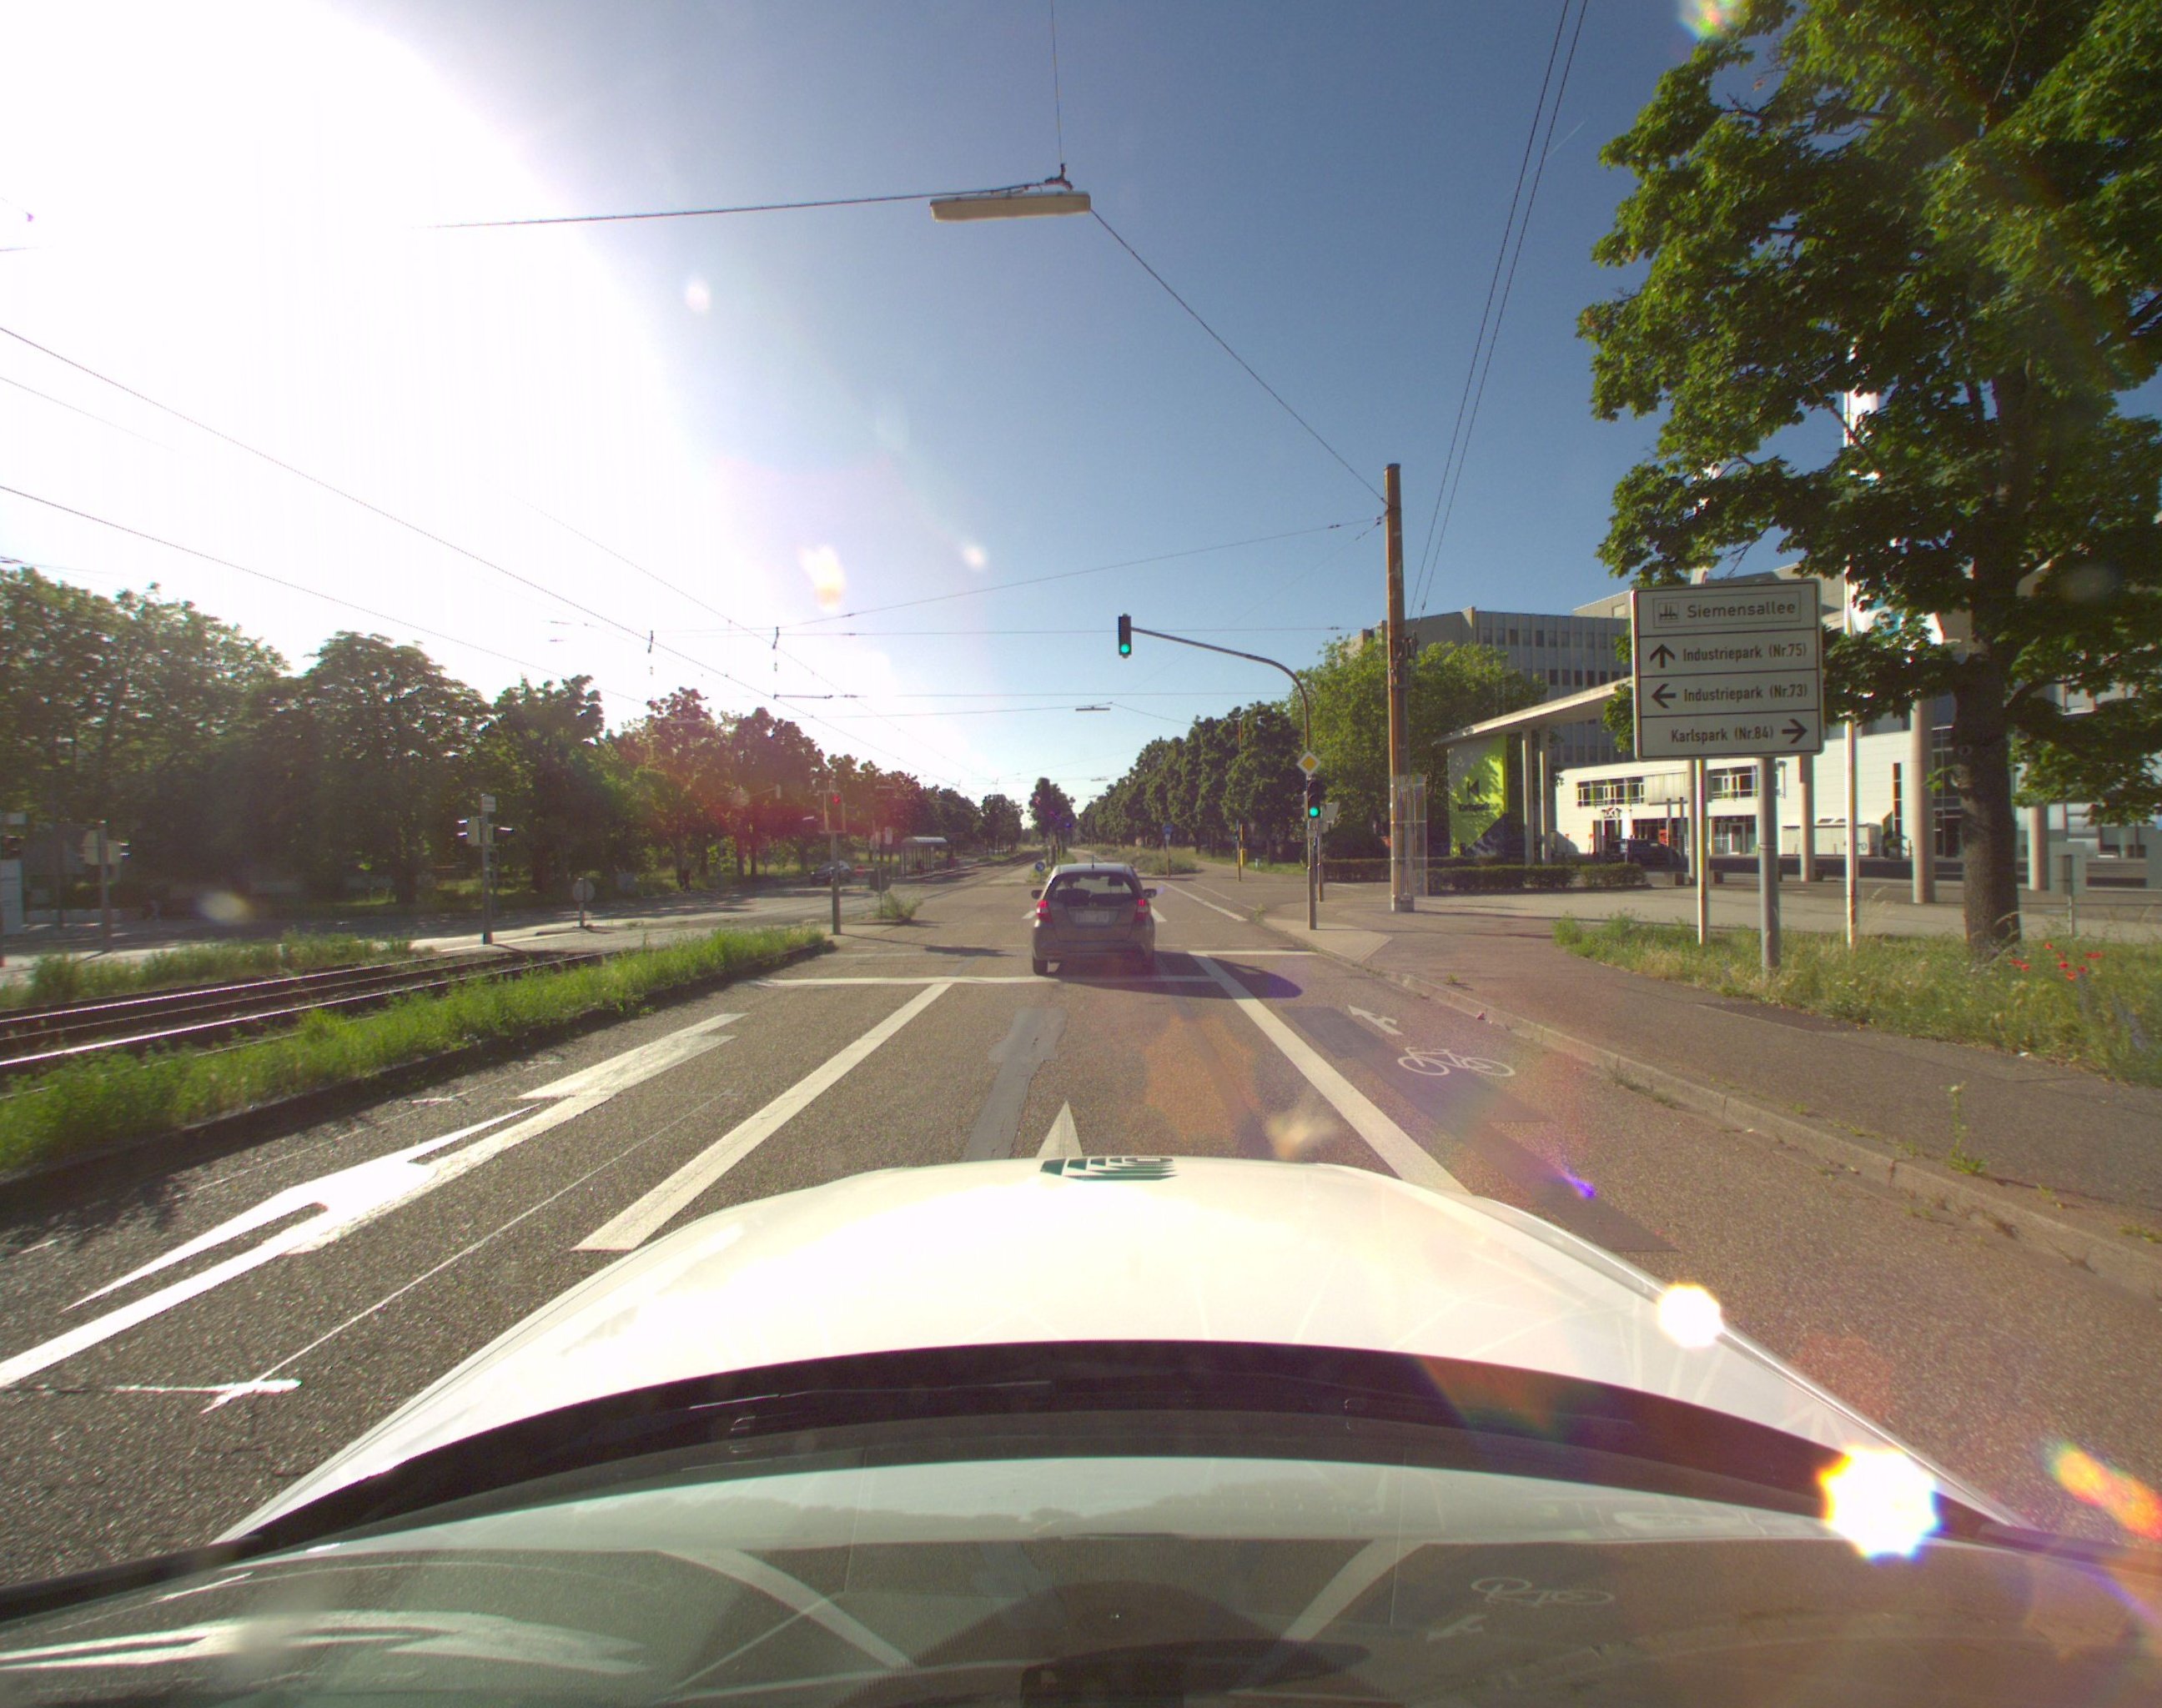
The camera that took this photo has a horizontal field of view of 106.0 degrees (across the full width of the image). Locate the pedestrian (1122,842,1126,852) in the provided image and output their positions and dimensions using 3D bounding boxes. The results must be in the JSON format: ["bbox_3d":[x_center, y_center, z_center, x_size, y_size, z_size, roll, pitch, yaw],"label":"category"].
[{"bbox_3d":[7.706,-1.242,145.416,0.723,1.690,0.821,-1,-1,-1],"label":"pedestrian"}]

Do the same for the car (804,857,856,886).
[{"bbox_3d":[-17.916,1.223,58.394,2.087,1.810,4.792,-4,1,0],"label":"car"}]

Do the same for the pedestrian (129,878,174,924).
[{"bbox_3d":[-37.899,1.920,33.199,0.943,1.787,0.824,-2,0,15],"label":"pedestrian"}]

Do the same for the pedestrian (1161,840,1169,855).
[{"bbox_3d":[10.762,-0.779,104.609,0.880,1.884,0.875,-2,0,-2],"label":"pedestrian"}]

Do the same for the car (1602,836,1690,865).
[{"bbox_3d":[33.271,-0.227,47.993,3.984,1.578,1.949,-1,0,-8],"label":"car"}]

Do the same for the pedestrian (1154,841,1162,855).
[{"bbox_3d":[9.834,-0.770,104.615,0.880,1.884,0.875,-2,0,-2],"label":"pedestrian"}]

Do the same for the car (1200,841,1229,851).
[{"bbox_3d":[23.299,-1.445,142.603,4.623,1.555,1.997,-2,0,-5],"label":"car"}]

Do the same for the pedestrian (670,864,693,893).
[{"bbox_3d":[-25.029,1.547,51.034,0.751,1.734,0.943,-2,0,30],"label":"pedestrian"}]

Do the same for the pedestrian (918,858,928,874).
[{"bbox_3d":[-12.488,0.926,64.362,0.562,1.257,0.581,-4,0,1],"label":"pedestrian"}]

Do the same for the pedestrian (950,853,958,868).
[{"bbox_3d":[-12.306,0.613,78.933,0.542,1.447,0.559,-2,0,1],"label":"pedestrian"}]

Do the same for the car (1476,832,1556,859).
[{"bbox_3d":[31.060,-0.625,58.126,4.888,1.757,2.082,-2,0,-14],"label":"car"}]

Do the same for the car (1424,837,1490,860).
[{"bbox_3d":[30.000,-0.444,65.017,4.448,1.686,1.892,-2,0,-4],"label":"car"}]

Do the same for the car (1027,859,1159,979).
[{"bbox_3d":[0.214,0.857,12.387,1.694,1.524,3.711,-1,-1,2],"label":"car"}]
